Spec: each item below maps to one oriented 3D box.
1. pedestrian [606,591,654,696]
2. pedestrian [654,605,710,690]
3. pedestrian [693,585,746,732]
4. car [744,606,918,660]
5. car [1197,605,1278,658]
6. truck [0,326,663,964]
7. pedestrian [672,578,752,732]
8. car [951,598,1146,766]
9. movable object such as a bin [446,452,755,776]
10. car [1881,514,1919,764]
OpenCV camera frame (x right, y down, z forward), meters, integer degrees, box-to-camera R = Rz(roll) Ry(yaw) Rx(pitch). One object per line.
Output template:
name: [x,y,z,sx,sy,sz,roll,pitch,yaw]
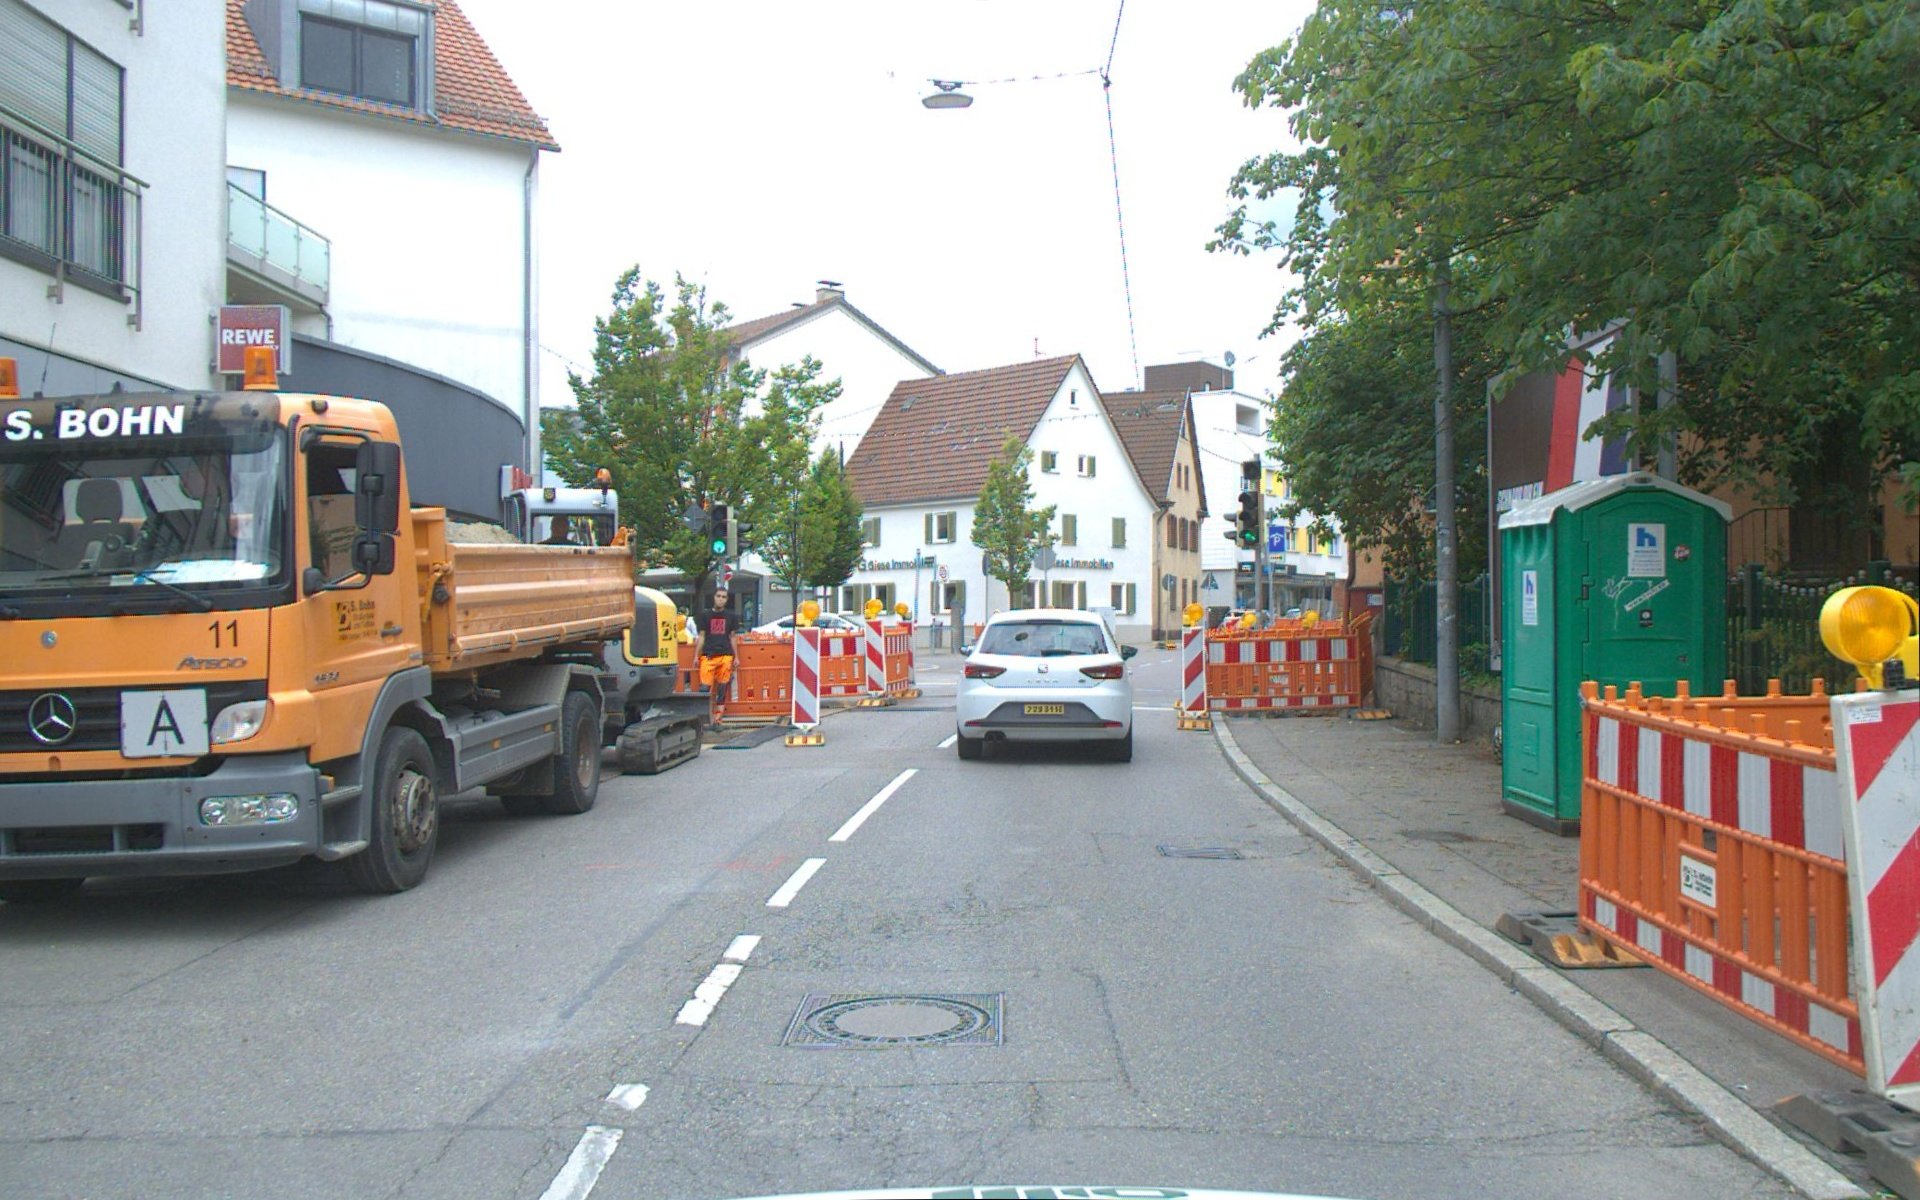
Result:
pedestrian: [-6.224,0.805,31.207,0.802,1.959,0.780,0,-1,-19]
pedestrian: [-5.398,0.917,32.143,0.668,1.620,0.878,-1,-1,28]
pedestrian: [-2.930,0.708,20.175,0.526,1.774,0.444,-1,-1,7]
car: [-3.761,0.947,48.720,4.799,1.502,2.251,0,0,5]
car: [8.549,0.946,50.709,1.774,1.506,3.871,-1,0,20]
truck: [-4.058,0.199,10.677,2.674,2.772,6.850,-1,0,3]
pedestrian: [-3.020,0.666,20.230,0.797,1.847,0.744,0,-1,6]
car: [0.809,0.755,17.155,1.774,1.506,3.870,1,0,0]
movable object such as a bin: [-3.425,0.177,16.677,1.800,2.812,4.508,-1,-1,5]
car: [9.970,0.308,13.634,4.135,2.069,1.996,-1,-1,30]
